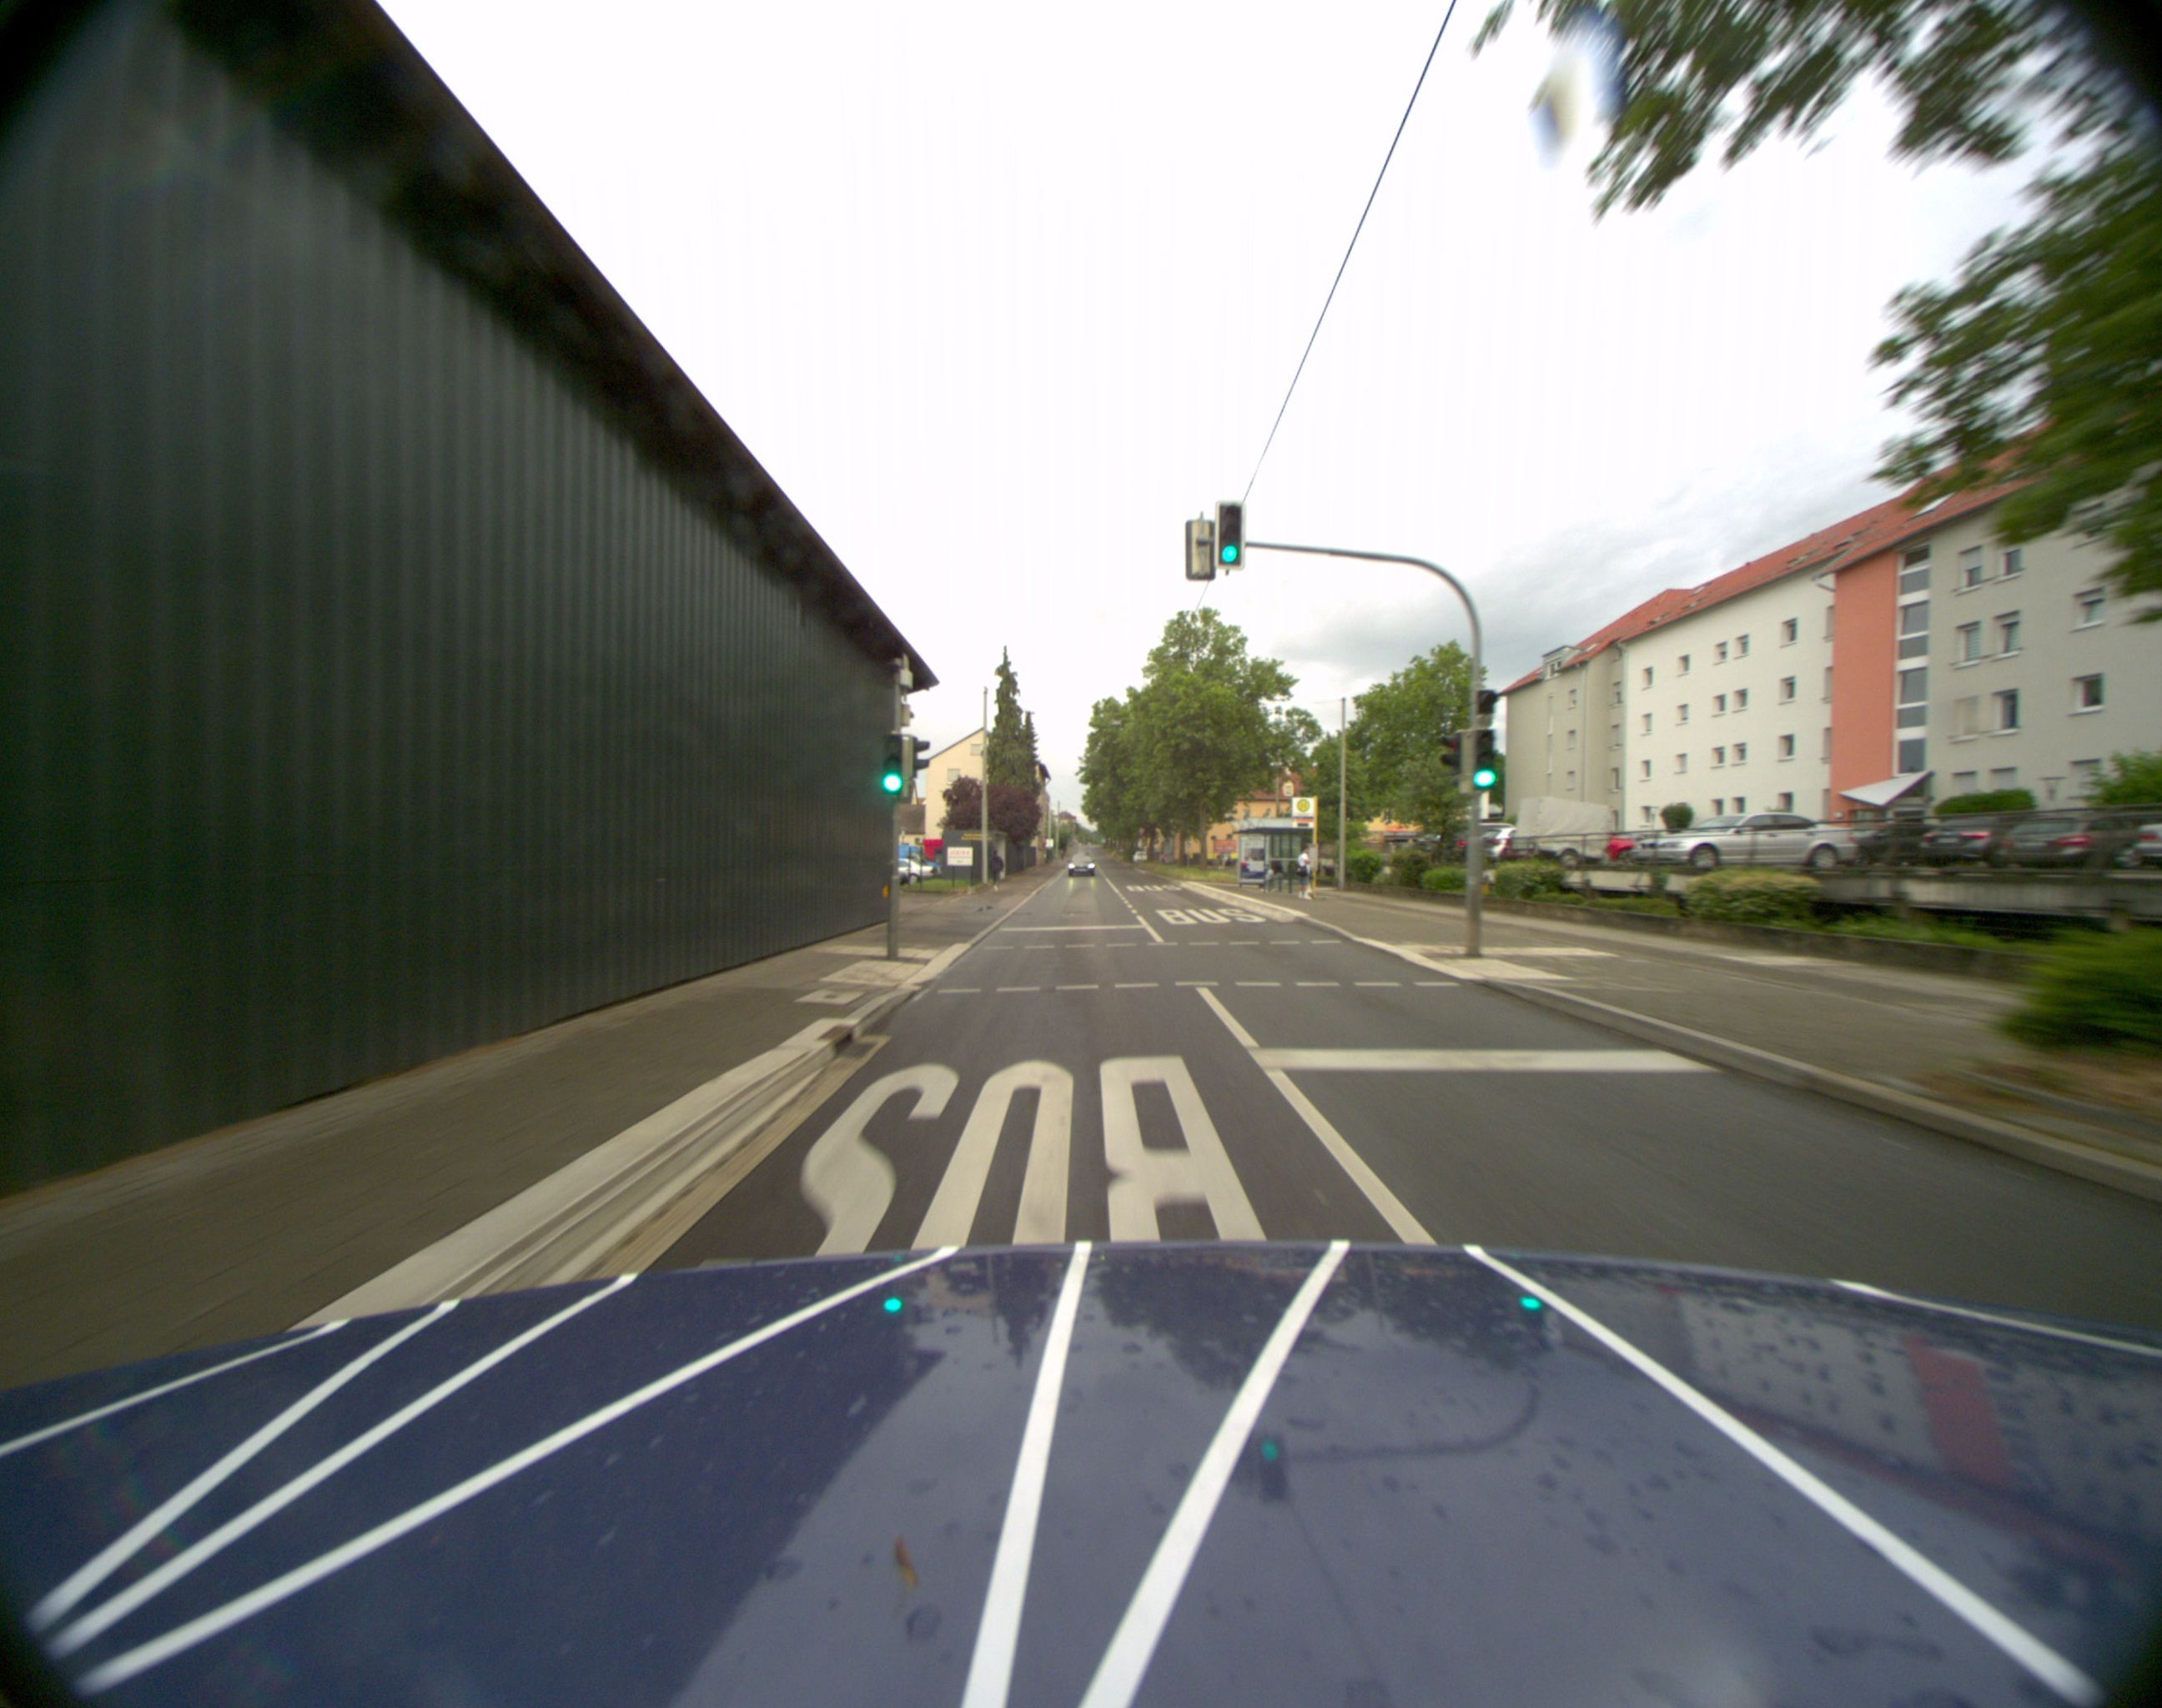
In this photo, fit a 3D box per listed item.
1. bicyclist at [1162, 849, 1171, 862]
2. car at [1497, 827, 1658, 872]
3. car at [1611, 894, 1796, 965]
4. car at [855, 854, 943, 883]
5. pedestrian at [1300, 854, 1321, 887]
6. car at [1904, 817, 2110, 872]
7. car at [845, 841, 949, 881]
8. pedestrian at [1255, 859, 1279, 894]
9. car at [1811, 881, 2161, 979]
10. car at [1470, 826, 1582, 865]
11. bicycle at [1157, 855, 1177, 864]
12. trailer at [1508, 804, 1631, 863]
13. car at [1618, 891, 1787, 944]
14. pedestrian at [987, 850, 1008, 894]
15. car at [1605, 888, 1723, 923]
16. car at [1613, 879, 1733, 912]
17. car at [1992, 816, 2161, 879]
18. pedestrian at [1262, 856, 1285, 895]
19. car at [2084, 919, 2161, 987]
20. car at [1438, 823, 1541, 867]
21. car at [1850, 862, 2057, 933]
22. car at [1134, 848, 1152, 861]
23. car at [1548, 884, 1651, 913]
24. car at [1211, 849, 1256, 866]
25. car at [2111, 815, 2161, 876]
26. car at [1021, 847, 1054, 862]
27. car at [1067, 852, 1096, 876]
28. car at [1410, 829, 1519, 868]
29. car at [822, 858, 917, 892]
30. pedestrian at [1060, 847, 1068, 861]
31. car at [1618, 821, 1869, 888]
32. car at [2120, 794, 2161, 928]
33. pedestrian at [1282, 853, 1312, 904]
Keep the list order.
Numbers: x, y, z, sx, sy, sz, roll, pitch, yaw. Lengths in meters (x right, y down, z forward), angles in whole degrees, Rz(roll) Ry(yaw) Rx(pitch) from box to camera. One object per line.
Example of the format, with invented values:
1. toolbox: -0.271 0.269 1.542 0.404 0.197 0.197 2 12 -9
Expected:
1. bicyclist: 10.094 0.145 89.752 0.814 1.544 0.836 0 3 30
2. car: 16.127 -0.173 24.831 4.099 1.295 1.809 -1 2 0
3. car: 16.373 1.953 20.114 3.518 1.687 1.705 -1 1 0
4. car: -9.952 0.782 41.774 4.390 1.522 1.793 0 2 -1
5. pedestrian: 11.419 0.816 37.852 0.757 1.602 0.834 -2 2 -4
6. car: 25.644 -0.280 21.142 3.526 1.396 1.718 -1 2 2
7. car: -10.618 0.402 44.159 5.582 2.198 2.000 0 0 -1
8. pedestrian: 7.292 0.872 29.775 0.777 1.309 0.641 2 3 4
9. car: 16.226 1.308 13.677 4.366 1.416 1.859 -1 2 0
10. car: 15.759 -0.313 26.977 3.138 1.263 1.436 -1 2 0
11. bicycle: 10.127 0.673 89.813 2.260 0.990 0.557 0 2 29
12. trailer: 14.559 -0.602 22.731 2.711 1.636 1.480 -1 1 1
13. car: 19.425 1.967 23.858 3.978 1.396 1.589 -1 2 0
14. pedestrian: -3.263 0.701 29.894 0.744 1.695 0.901 -2 2 -5
15. car: 27.596 2.433 36.075 3.996 1.389 2.065 -1 2 3
16. car: 27.284 1.883 35.126 3.996 1.388 1.887 0 1 3
17. car: 25.287 -0.187 18.714 3.526 1.396 1.718 -1 2 2
18. pedestrian: 7.331 0.826 28.956 0.689 1.410 0.641 3 3 4
19. car: 26.835 2.333 18.082 3.526 1.396 1.718 -1 2 2
20. car: 15.559 -0.354 29.035 3.138 1.534 1.436 -1 2 0
21. car: 26.412 1.277 23.132 3.916 2.002 1.943 0 1 3
22. car: 7.614 0.037 93.524 1.790 1.542 4.351 -1 0 0
23. car: 27.203 2.330 39.993 3.996 1.388 2.065 0 0 3
24. car: 15.553 0.365 77.630 4.218 1.530 1.981 -2 2 -1
25. car: 24.951 -0.219 15.939 3.995 1.287 1.797 -1 0 4
26. car: -5.502 0.036 97.444 4.077 1.727 1.869 -1 2 0
27. car: -0.003 0.727 52.976 1.949 1.643 3.860 0 -1 0
28. car: 16.134 -0.245 32.096 3.663 1.490 1.896 -2 2 -3
29. car: -10.168 0.995 36.749 3.996 1.415 1.784 -1 2 1
30. pedestrian: -2.412 0.012 108.061 1.045 1.887 0.900 0 2 1
31. car: 15.682 -0.022 18.178 4.366 1.416 1.859 -1 2 0
32. car: 15.660 0.054 8.781 4.557 1.663 1.999 -1 2 0
33. pedestrian: 7.049 0.784 24.824 0.743 1.589 0.606 4 3 4
